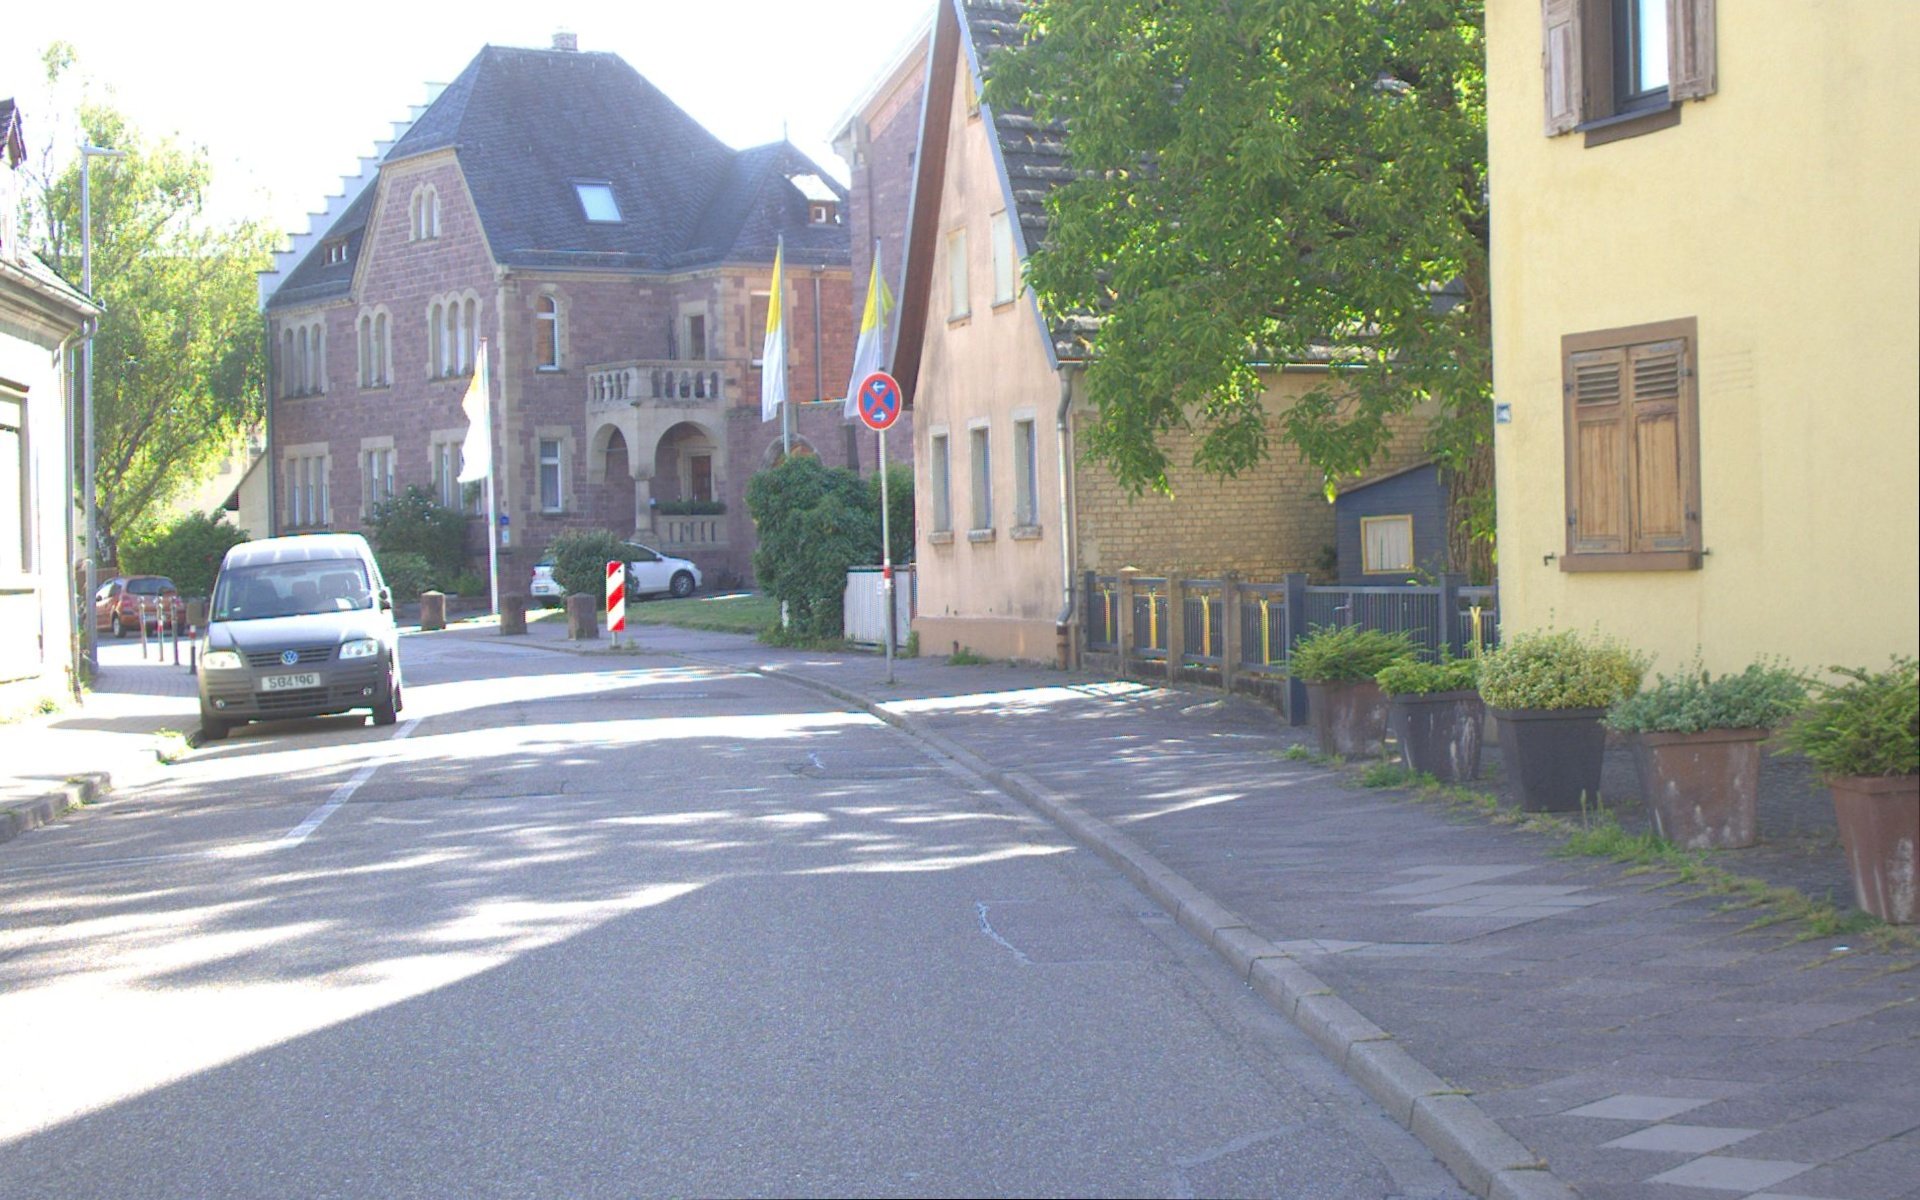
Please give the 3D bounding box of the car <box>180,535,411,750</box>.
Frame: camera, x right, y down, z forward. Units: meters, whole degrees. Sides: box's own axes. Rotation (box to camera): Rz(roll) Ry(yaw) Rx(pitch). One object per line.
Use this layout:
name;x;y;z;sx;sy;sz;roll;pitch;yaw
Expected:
car;-6.291;0.347;32.924;1.825;1.808;4.203;-4;1;-8

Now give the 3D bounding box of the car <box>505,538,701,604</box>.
car;-8.322;-0.682;80.259;4.235;1.396;1.717;-2;0;-37

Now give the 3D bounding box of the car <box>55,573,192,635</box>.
car;-20.095;0.094;82.512;1.713;1.396;4.247;-2;1;-35
